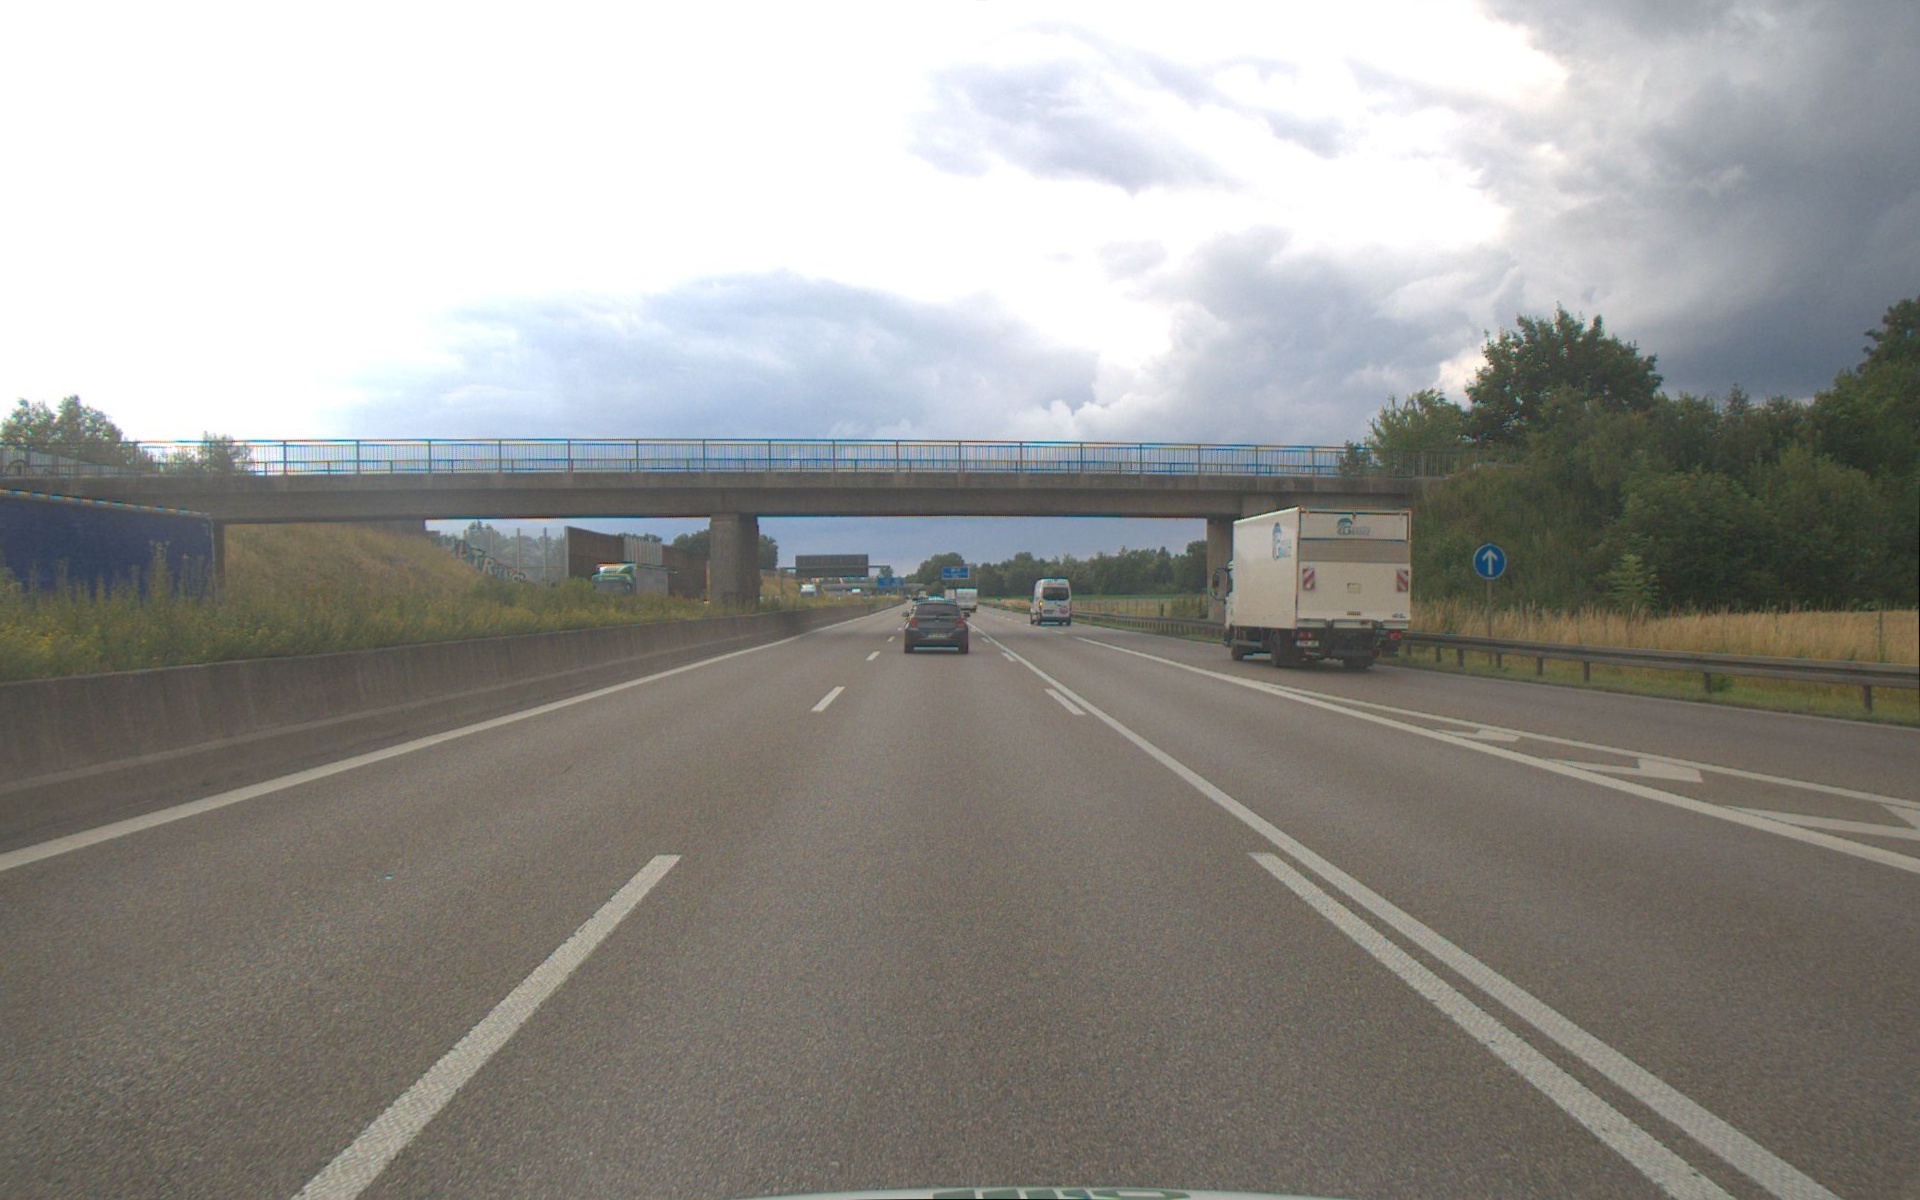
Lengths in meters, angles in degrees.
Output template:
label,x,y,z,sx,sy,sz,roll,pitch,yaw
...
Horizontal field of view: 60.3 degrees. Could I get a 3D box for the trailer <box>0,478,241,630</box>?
label,x,y,z,sx,sy,sz,roll,pitch,yaw
trailer,-20.483,-0.929,36.924,2.862,3.007,13.968,1,0,-1

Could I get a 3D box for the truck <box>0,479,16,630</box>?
label,x,y,z,sx,sy,sz,roll,pitch,yaw
truck,-20.409,-0.938,30.182,2.851,2.998,6.114,1,0,-1

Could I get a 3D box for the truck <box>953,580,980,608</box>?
label,x,y,z,sx,sy,sz,roll,pitch,yaw
truck,0.715,-0.669,185.918,2.655,3.016,12.443,1,0,-1

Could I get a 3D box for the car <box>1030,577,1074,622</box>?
label,x,y,z,sx,sy,sz,roll,pitch,yaw
car,5.442,-0.036,98.436,2.176,2.613,6.254,0,0,-1

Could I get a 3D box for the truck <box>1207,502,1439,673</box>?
label,x,y,z,sx,sy,sz,roll,pitch,yaw
truck,8.350,-0.261,39.401,3.043,3.531,8.885,1,0,-3

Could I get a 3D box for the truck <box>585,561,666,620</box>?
label,x,y,z,sx,sy,sz,roll,pitch,yaw
truck,-22.194,-0.566,110.621,2.936,3.748,13.006,0,0,-1

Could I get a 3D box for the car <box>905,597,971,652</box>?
label,x,y,z,sx,sy,sz,roll,pitch,yaw
car,-0.619,0.635,45.573,1.708,1.413,3.999,1,0,-1

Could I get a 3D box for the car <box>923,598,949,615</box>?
label,x,y,z,sx,sy,sz,roll,pitch,yaw
car,-1.902,0.519,130.307,1.953,1.321,3.999,-1,0,-2

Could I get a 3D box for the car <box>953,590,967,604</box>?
label,x,y,z,sx,sy,sz,roll,pitch,yaw
car,-0.031,-0.396,250.690,1.953,2.049,3.999,-1,0,-2
